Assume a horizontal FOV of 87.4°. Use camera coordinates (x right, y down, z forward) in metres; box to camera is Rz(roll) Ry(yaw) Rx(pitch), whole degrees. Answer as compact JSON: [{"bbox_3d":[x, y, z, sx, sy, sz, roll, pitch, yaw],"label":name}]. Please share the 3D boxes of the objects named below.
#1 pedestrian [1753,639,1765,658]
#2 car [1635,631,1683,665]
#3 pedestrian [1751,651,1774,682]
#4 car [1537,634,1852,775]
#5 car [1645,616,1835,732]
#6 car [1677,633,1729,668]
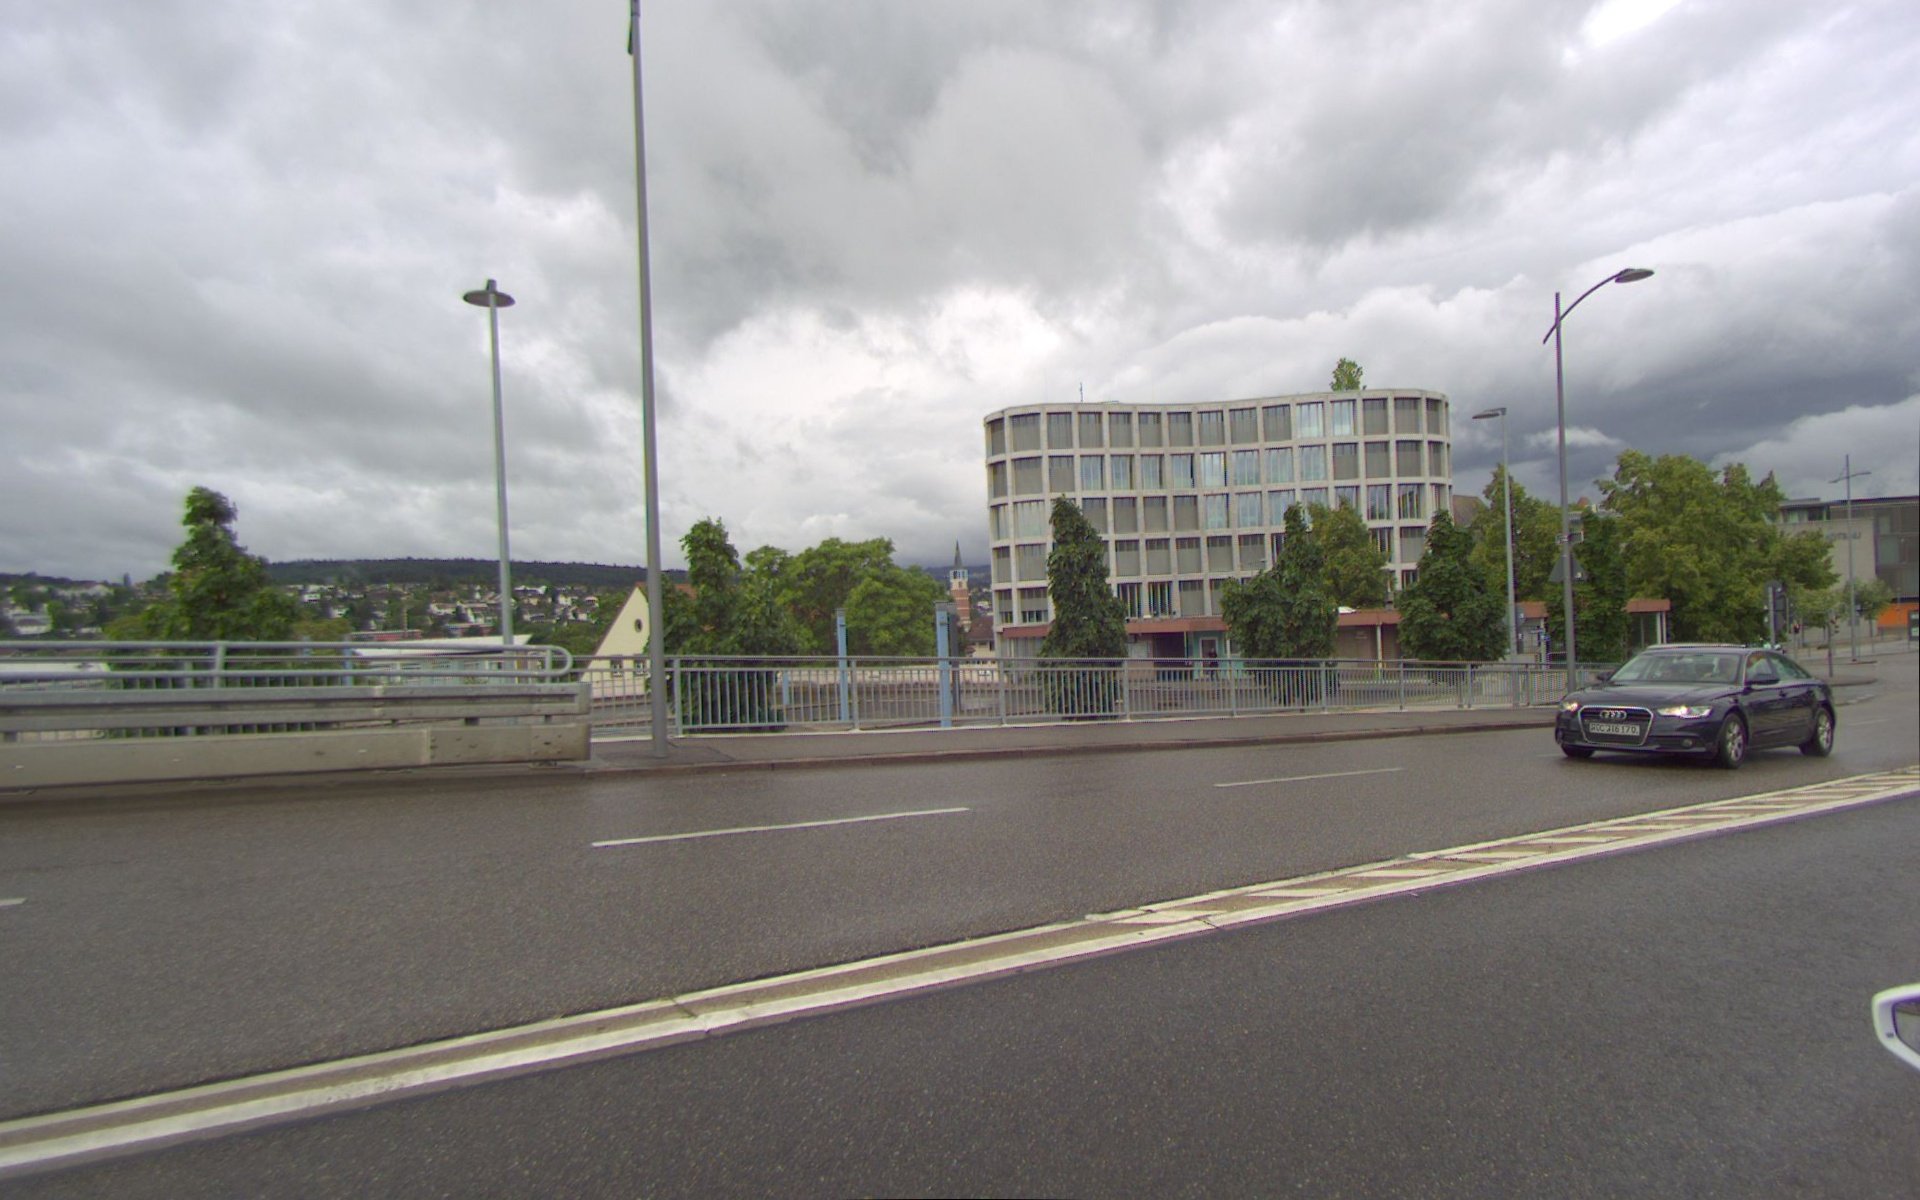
[{"bbox_3d":[37.971,2.322,47.742,0.294,0.885,0.300,-1,-1,-27],"label":"pedestrian"},{"bbox_3d":[49.967,3.416,71.896,1.962,2.041,3.997,3,3,23],"label":"car"},{"bbox_3d":[38.112,3.133,47.691,0.524,1.427,0.646,-1,-1,-27],"label":"pedestrian"},{"bbox_3d":[9.659,1.253,13.114,4.545,1.546,1.823,2,-3,-33],"label":"car"},{"bbox_3d":[15.278,1.373,19.625,3.964,2.040,1.979,2,-3,-38],"label":"car"},{"bbox_3d":[52.455,3.544,70.989,1.962,2.041,3.997,3,3,23],"label":"car"}]
